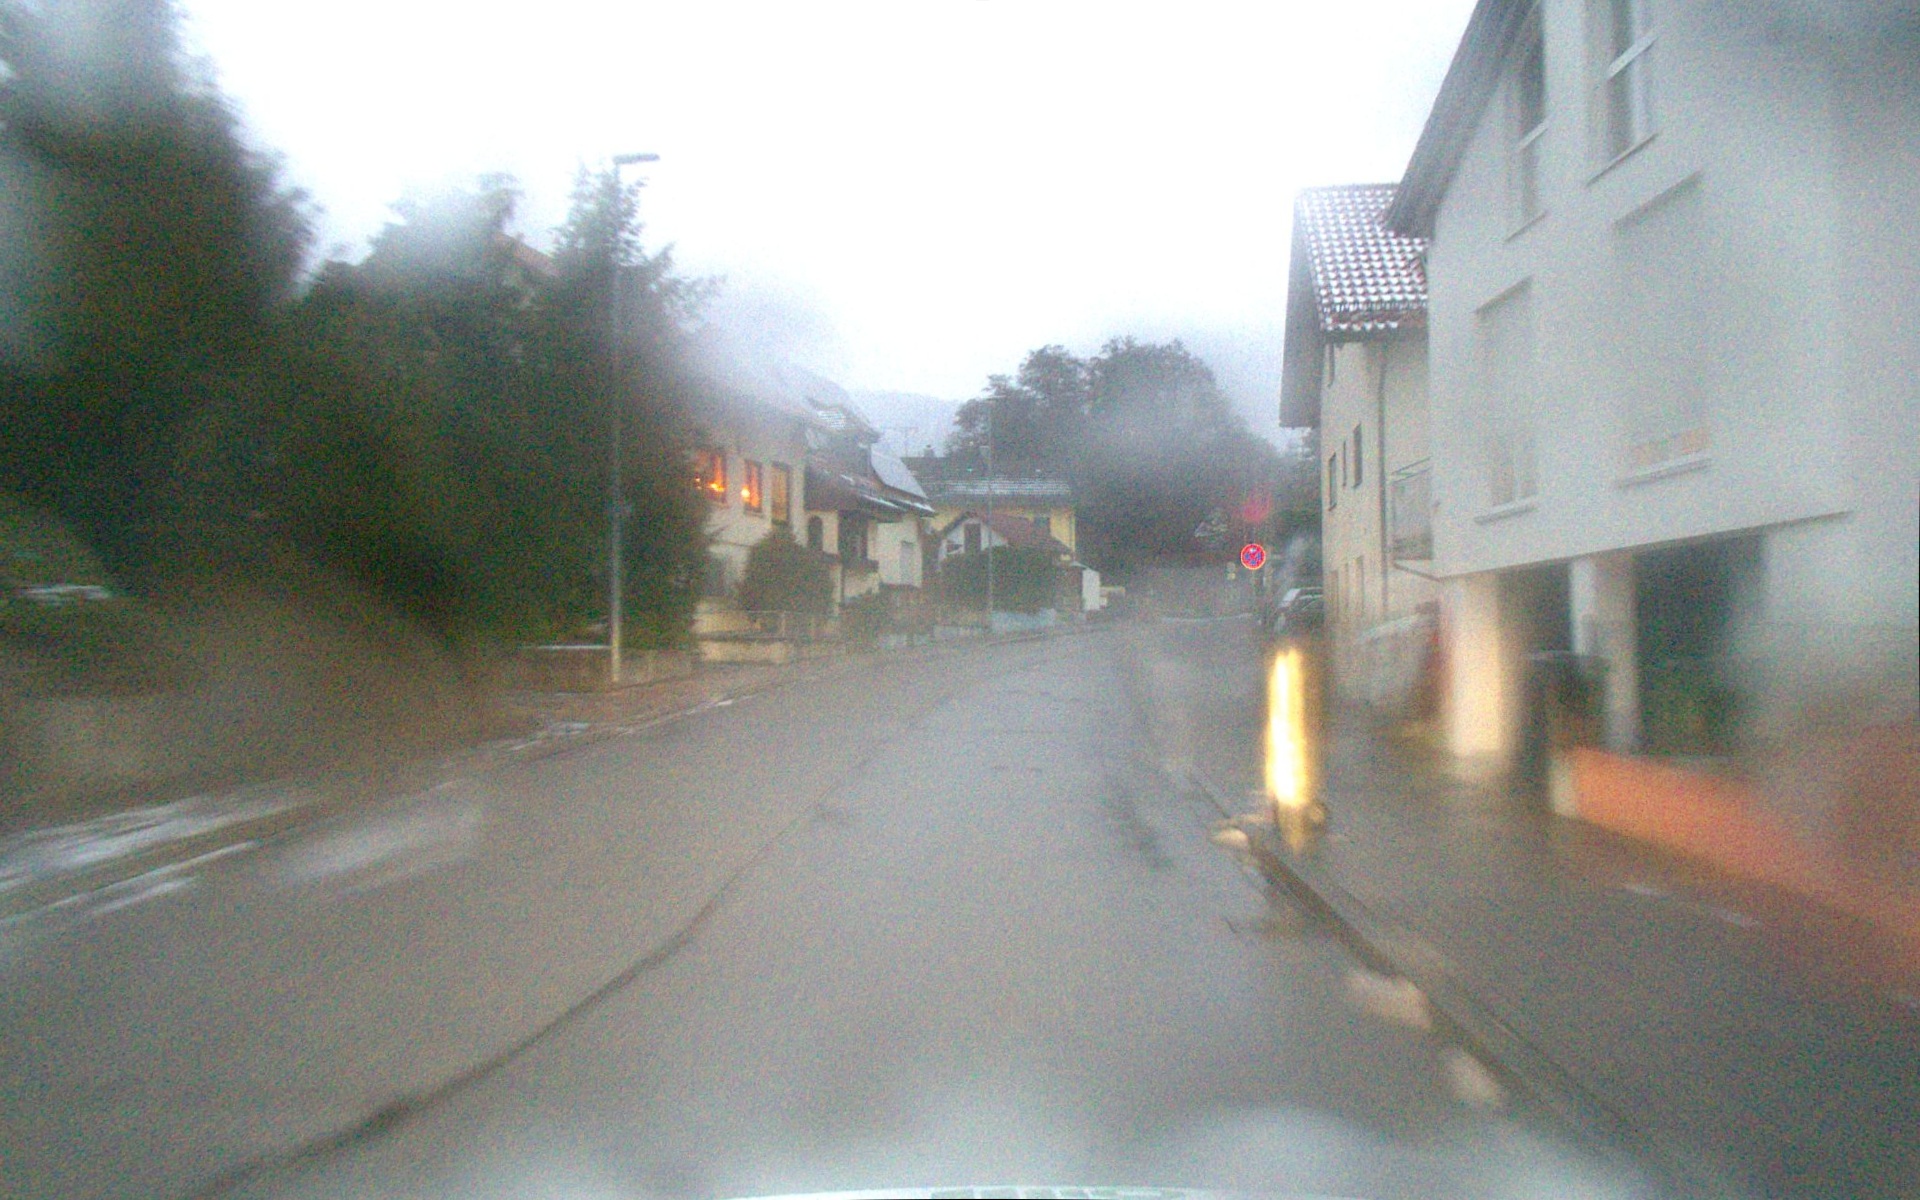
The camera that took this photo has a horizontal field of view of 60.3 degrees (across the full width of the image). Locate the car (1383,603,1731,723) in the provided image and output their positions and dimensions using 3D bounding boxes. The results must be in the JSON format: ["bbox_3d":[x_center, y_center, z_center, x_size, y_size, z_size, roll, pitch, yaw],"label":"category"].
[{"bbox_3d":[7.653,0.782,21.415,3.906,1.482,1.690,0,0,-2],"label":"car"}]

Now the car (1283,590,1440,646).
[{"bbox_3d":[11.968,0.537,49.483,4.408,1.469,2.002,-2,0,13],"label":"car"}]

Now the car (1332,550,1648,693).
[{"bbox_3d":[8.072,0.329,25.500,4.194,1.481,1.780,-9,-1,4],"label":"car"}]

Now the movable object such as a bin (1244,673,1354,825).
[{"bbox_3d":[2.320,1.012,11.378,0.601,0.963,0.595,-4,-2,4],"label":"movable object such as a bin"}]
